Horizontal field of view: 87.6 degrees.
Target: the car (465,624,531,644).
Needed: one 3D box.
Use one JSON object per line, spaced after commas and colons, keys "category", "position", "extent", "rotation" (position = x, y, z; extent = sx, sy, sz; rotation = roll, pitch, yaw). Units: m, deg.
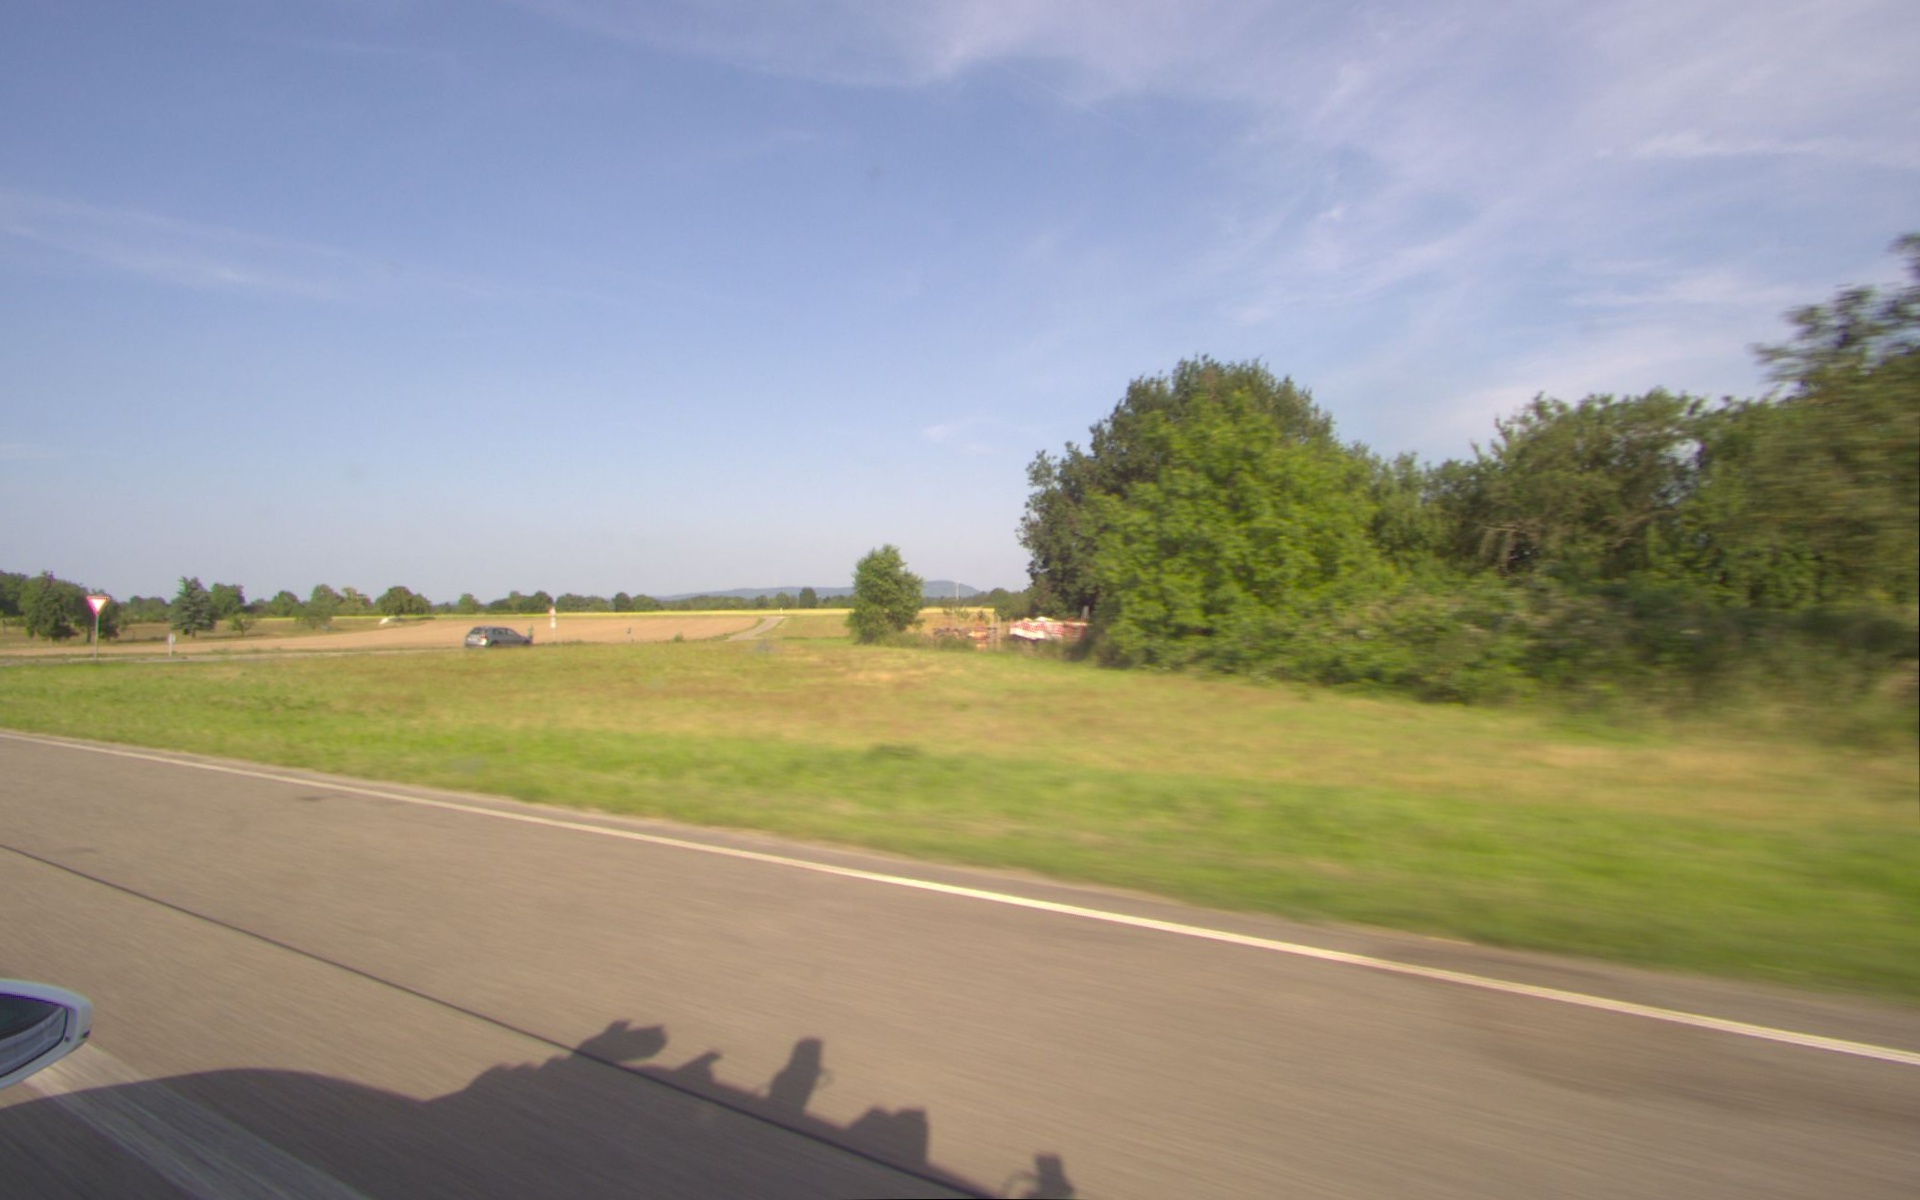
{"category": "car", "position": [-28.818, 2.109, 62.524], "extent": [1.537, 1.235, 3.630], "rotation": [-1, -1, 23]}
